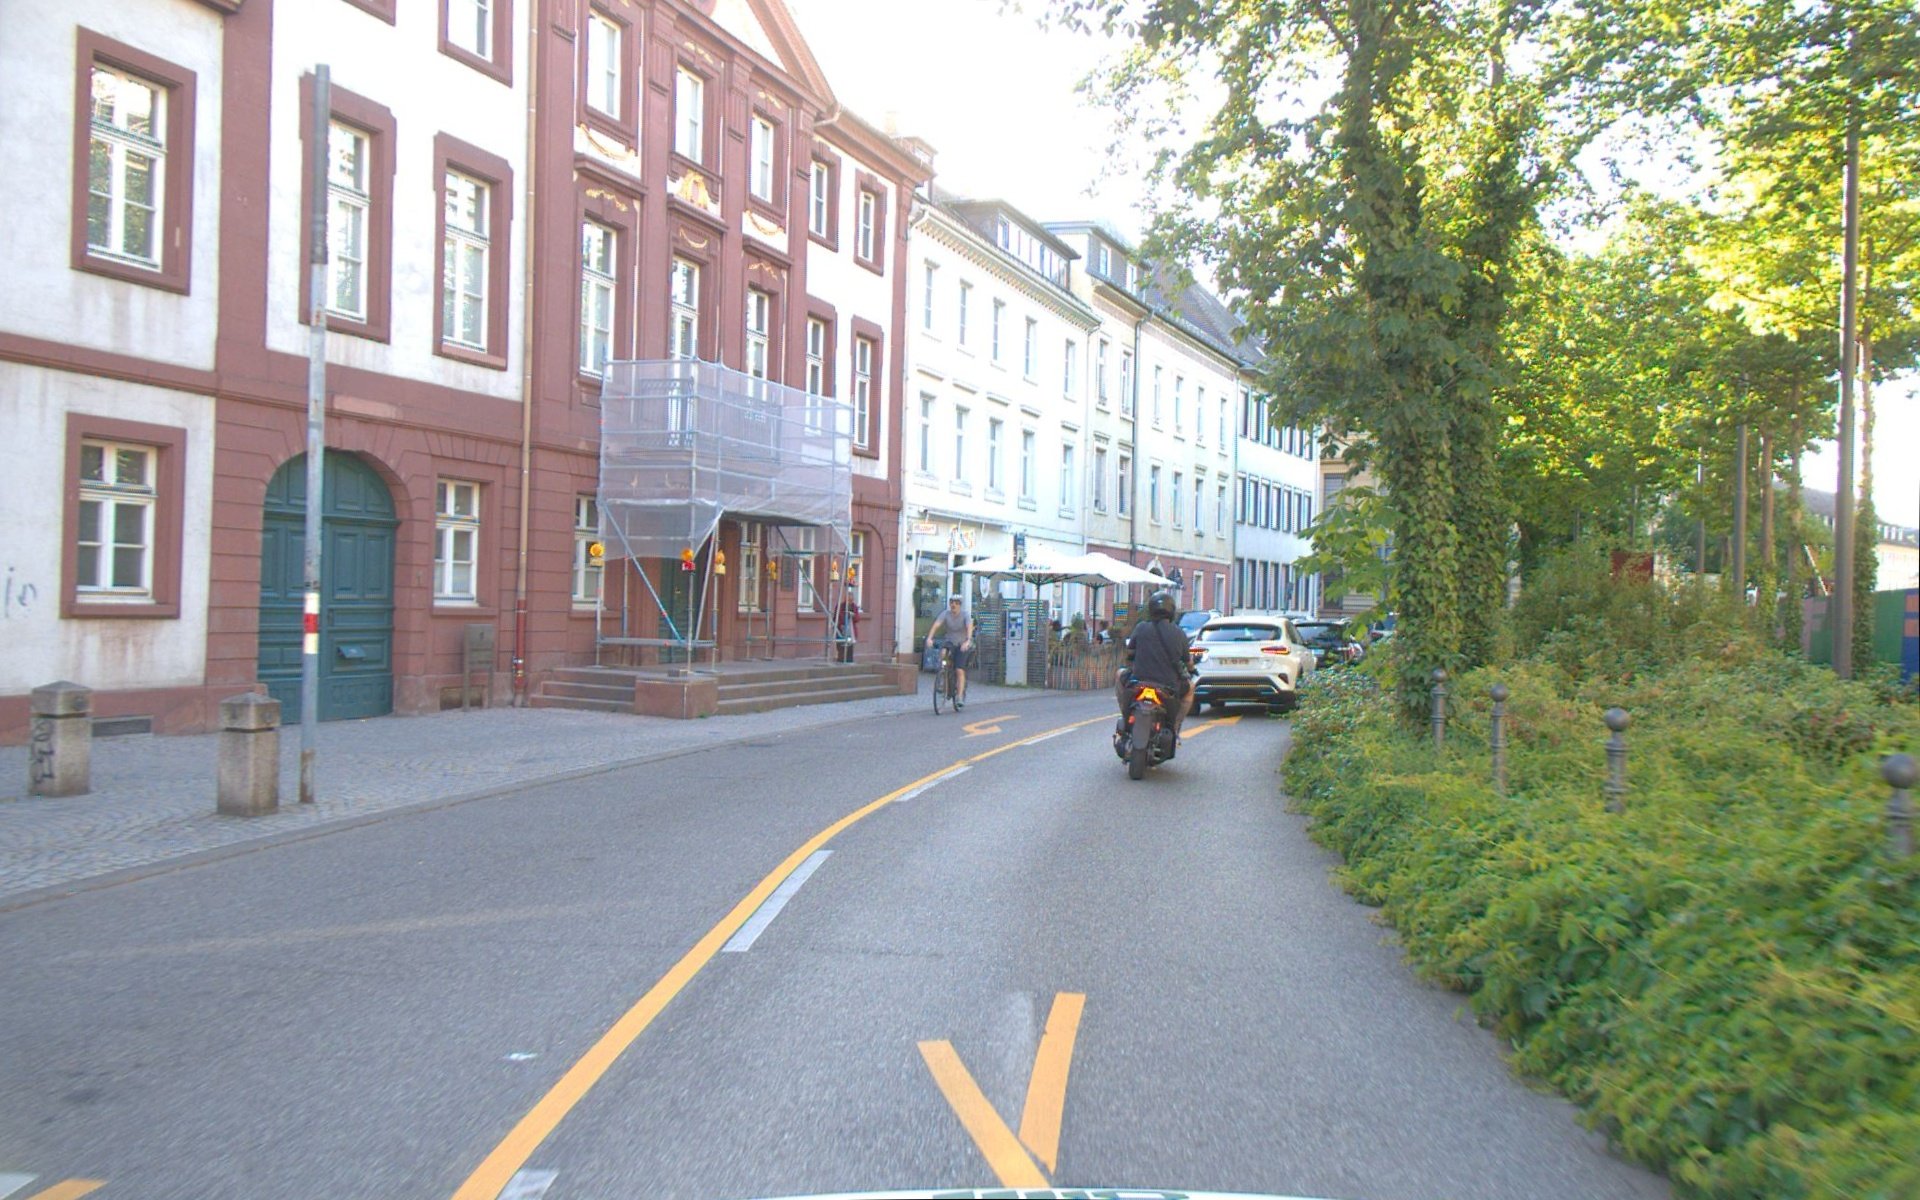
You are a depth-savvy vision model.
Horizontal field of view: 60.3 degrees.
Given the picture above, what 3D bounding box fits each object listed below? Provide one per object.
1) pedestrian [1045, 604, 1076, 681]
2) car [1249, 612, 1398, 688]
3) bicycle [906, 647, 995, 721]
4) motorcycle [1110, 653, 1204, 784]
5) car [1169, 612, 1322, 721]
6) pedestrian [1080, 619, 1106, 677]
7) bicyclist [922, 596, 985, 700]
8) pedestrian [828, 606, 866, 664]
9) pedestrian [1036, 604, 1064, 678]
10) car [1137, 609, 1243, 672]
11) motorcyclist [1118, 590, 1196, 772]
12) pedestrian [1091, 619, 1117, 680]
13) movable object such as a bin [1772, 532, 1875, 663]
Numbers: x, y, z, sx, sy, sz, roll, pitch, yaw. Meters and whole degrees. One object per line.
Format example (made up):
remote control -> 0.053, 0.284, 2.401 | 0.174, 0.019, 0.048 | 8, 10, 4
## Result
pedestrian -> 2.400, 1.006, 39.453 | 0.584, 1.806, 0.438 | 1, -1, 30
car -> 7.868, 1.046, 35.572 | 1.808, 1.489, 4.046 | 2, 0, 33
bicycle -> -0.128, 1.316, 26.464 | 0.755, 1.081, 2.078 | 1, 0, 19
motorcycle -> 1.887, 1.082, 15.653 | 0.779, 1.085, 1.726 | 2, 0, 9
car -> 4.576, 0.975, 26.055 | 1.812, 1.506, 4.059 | 2, 0, 17
pedestrian -> 3.326, 1.197, 41.363 | 0.512, 1.415, 0.488 | 1, -1, 18
bicyclist -> -0.098, 0.754, 26.492 | 0.728, 1.611, 0.795 | 2, 0, 19
pedestrian -> -2.162, 0.668, 31.741 | 0.525, 1.071, 0.552 | 2, 0, 17
pedestrian -> 2.232, 1.004, 40.957 | 0.430, 1.806, 0.595 | 1, -1, 34
car -> 6.746, 1.144, 48.128 | 1.883, 1.709, 4.783 | 0, -1, 23
motorcyclist -> 1.890, 0.756, 15.824 | 0.643, 1.679, 0.651 | 2, 0, 11
pedestrian -> 3.475, 1.187, 39.921 | 0.461, 1.458, 0.501 | 1, 0, 26
movable object such as a bin -> 32.567, -0.052, 62.258 | 3.244, 4.619, 7.892 | 0, -1, 29
